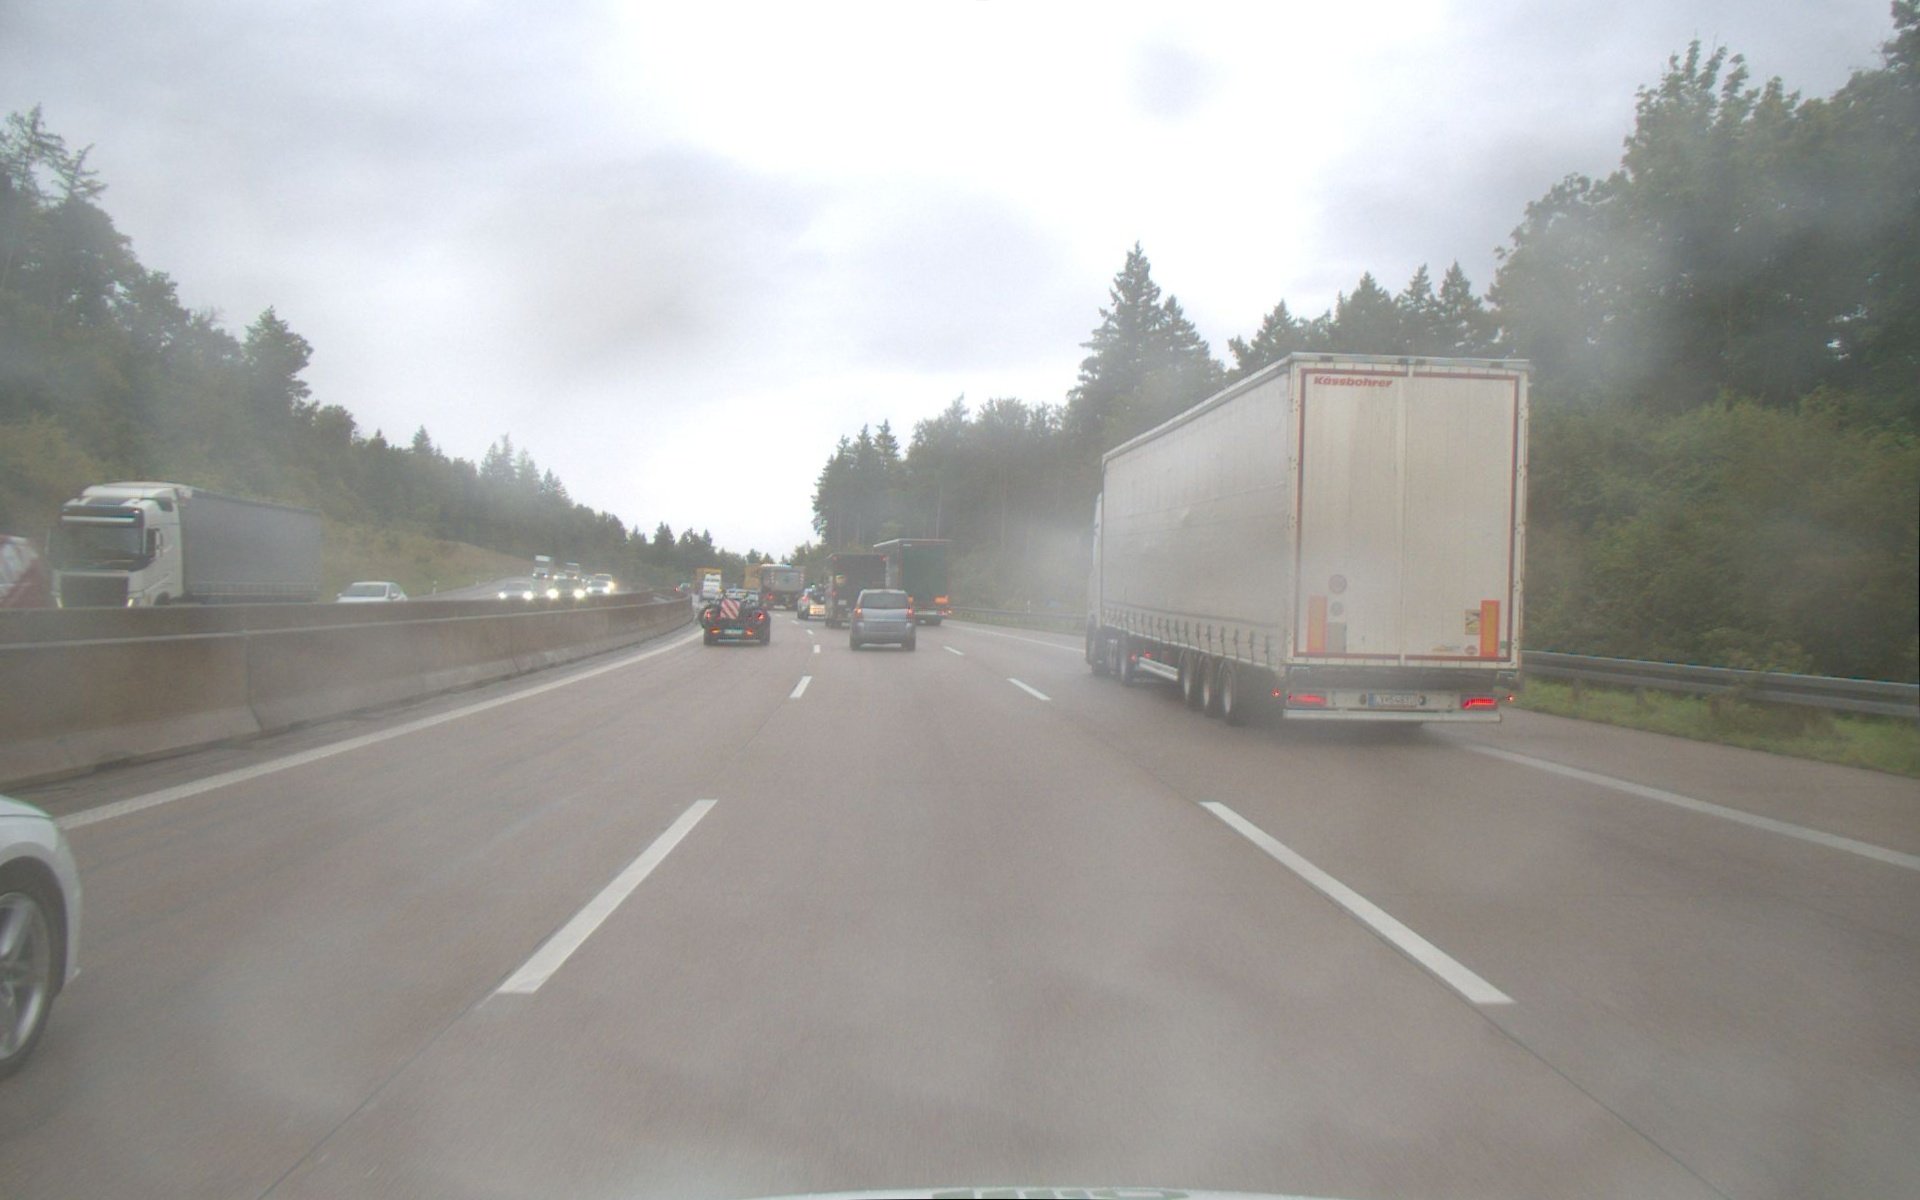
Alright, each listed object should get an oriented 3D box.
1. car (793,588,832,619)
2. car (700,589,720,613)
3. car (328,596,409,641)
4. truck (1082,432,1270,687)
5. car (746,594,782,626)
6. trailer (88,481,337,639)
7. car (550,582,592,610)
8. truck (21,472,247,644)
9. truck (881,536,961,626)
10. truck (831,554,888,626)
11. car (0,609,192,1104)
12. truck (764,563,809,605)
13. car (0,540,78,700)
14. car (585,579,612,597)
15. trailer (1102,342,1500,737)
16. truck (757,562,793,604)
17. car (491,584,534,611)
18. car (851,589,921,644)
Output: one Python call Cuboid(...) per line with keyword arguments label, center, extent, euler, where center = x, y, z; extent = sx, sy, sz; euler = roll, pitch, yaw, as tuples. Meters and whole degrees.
Cuboid(label="car", center=(-7.610, 0.177, 85.806), extent=(1.844, 1.499, 3.997), euler=(2, 0, -3))
Cuboid(label="car", center=(-22.624, 0.096, 149.741), extent=(1.693, 2.049, 3.650), euler=(0, -1, -7))
Cuboid(label="car", center=(-19.593, 0.592, 54.924), extent=(1.590, 1.417, 3.996), euler=(0, 0, -5))
Cuboid(label="truck", center=(3.711, -0.656, 29.422), extent=(2.372, 4.139, 4.974), euler=(0, 0, -4))
Cuboid(label="car", center=(-9.781, 0.493, 82.713), extent=(1.651, 1.488, 3.679), euler=(2, 0, -6))
Cuboid(label="trailer", center=(-23.281, -1.131, 52.693), extent=(2.691, 4.359, 13.703), euler=(0, 0, -4))
Cuboid(label="car", center=(-20.403, -0.205, 86.780), extent=(1.590, 1.417, 3.996), euler=(0, 0, -5))
Cuboid(label="truck", center=(-22.778, -1.082, 46.193), extent=(2.691, 4.359, 8.307), euler=(0, 0, -5))
Cuboid(label="truck", center=(-2.108, -0.916, 83.543), extent=(3.304, 4.204, 10.425), euler=(0, 0, -5))
Cuboid(label="truck", center=(-4.436, -0.477, 71.799), extent=(2.225, 2.937, 7.895), euler=(0, 1, -5))
Cuboid(label="car", center=(-3.607, 0.746, 3.564), extent=(1.677, 1.431, 4.934), euler=(0, 0, -1))
Cuboid(label="truck", center=(-12.770, -1.196, 121.144), extent=(3.025, 2.956, 7.889), euler=(0, 1, -8))
Cuboid(label="car", center=(-13.625, 0.259, 21.241), extent=(1.954, 2.119, 5.329), euler=(0, 0, -3))
Cuboid(label="car", center=(-28.587, -0.939, 130.819), extent=(1.590, 1.417, 3.996), euler=(0, 0, -5))
Cuboid(label="trailer", center=(4.117, -0.648, 23.416), extent=(2.372, 4.139, 12.044), euler=(0, 0, -4))
Cuboid(label="truck", center=(-19.409, -1.742, 173.985), extent=(3.668, 4.284, 6.808), euler=(0, -1, -6))
Cuboid(label="car", center=(-24.324, -0.144, 89.958), extent=(1.590, 1.417, 3.996), euler=(0, 0, -5))
Cuboid(label="car", center=(-2.058, 0.428, 45.202), extent=(1.524, 1.375, 3.677), euler=(2, 0, -8))
